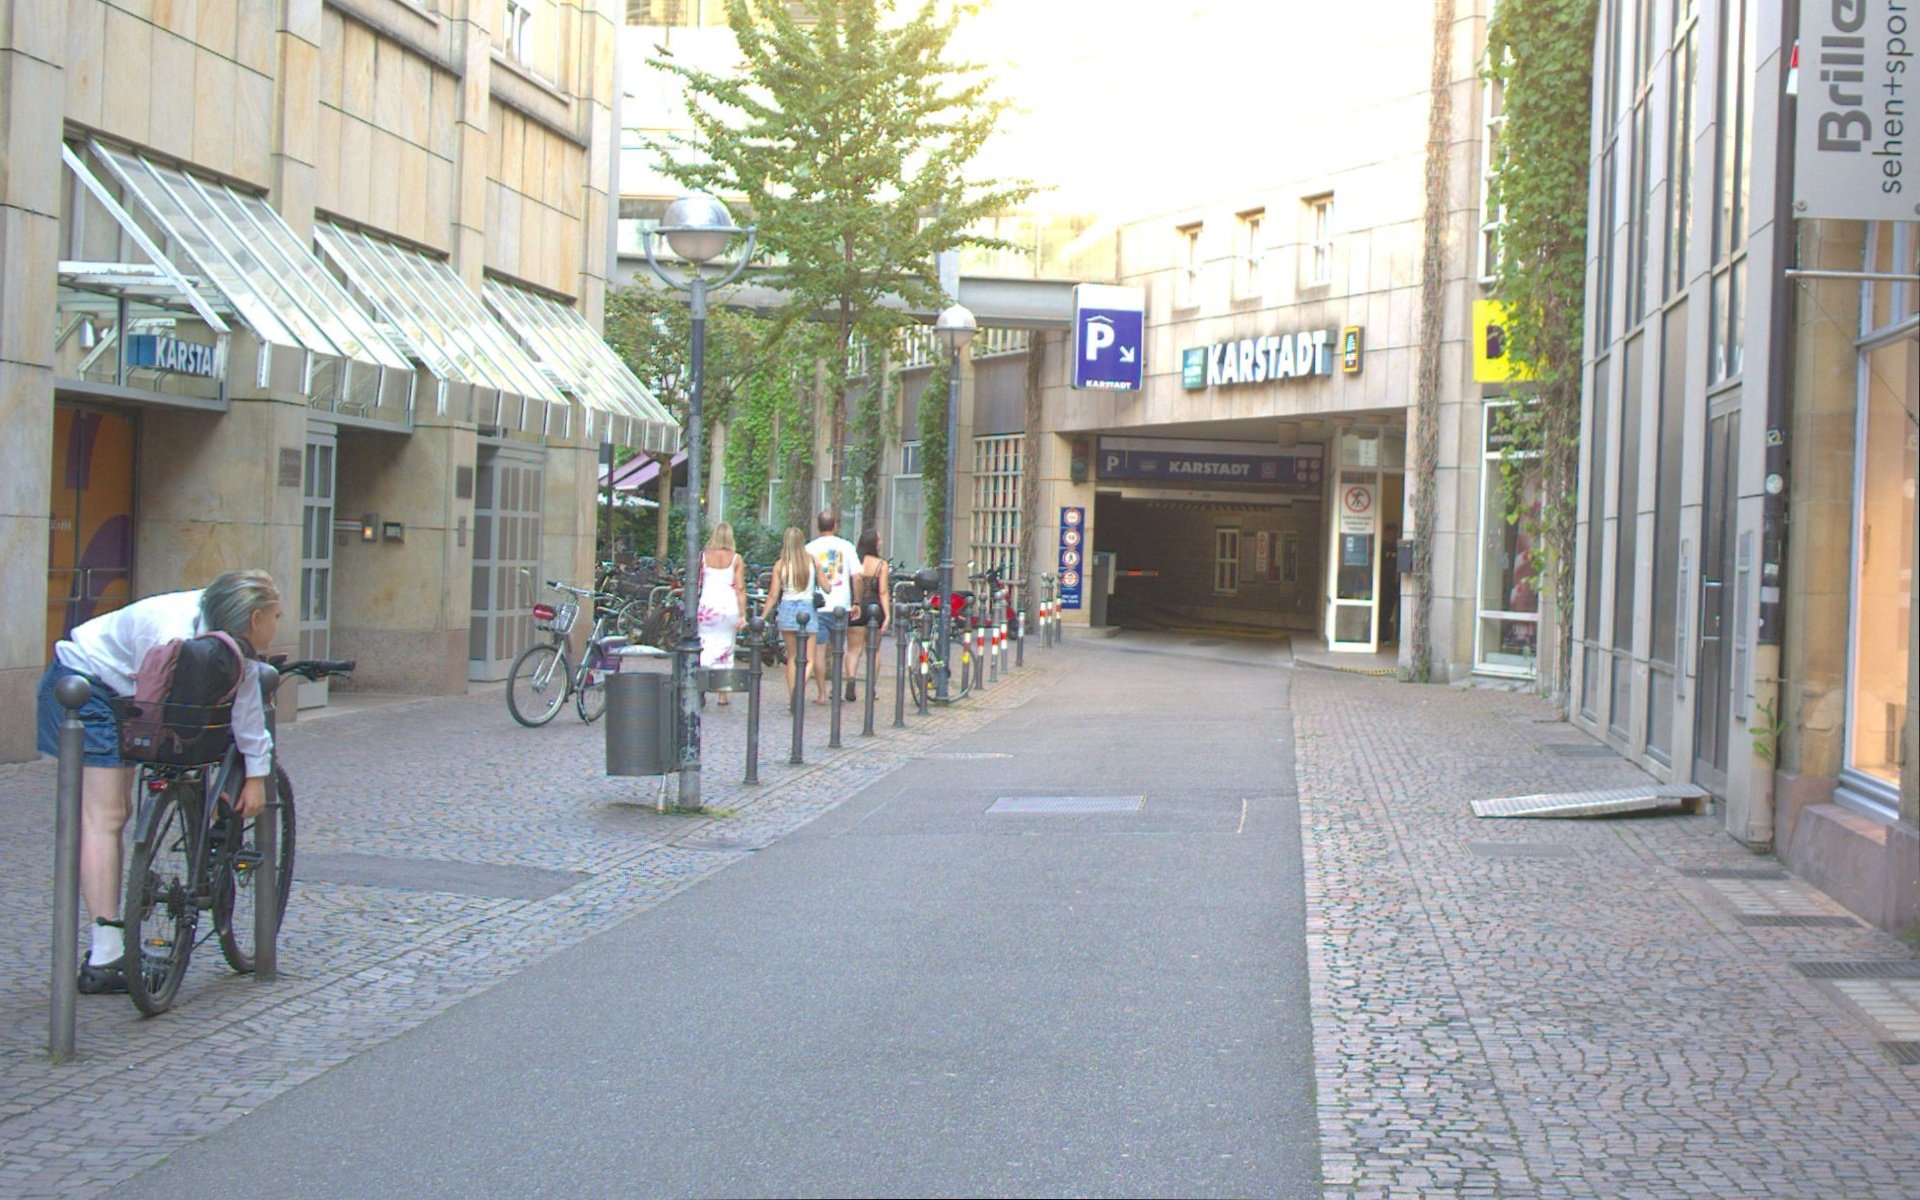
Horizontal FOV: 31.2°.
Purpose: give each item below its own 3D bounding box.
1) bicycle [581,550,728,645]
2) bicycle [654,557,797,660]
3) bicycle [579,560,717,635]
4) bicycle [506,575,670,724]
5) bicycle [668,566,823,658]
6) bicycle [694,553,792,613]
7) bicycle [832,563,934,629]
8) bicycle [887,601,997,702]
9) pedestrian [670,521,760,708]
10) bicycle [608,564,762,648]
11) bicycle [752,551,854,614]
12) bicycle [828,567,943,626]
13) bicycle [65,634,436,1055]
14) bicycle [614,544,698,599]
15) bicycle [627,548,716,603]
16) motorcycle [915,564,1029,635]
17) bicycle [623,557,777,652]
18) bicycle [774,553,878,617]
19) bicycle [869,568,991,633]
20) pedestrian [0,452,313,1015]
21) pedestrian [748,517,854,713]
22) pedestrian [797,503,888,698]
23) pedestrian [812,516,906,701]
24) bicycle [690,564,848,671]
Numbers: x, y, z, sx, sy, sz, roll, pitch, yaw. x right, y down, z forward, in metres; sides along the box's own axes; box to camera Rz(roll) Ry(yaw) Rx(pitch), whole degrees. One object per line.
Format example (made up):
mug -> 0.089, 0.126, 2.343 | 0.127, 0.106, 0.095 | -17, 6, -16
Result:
bicycle -> -4.016, -0.034, 45.181 | 1.833, 1.221, 0.534 | 1, 1, -17
bicycle -> -2.866, 0.100, 42.014 | 1.653, 1.226, 0.534 | 1, 1, -17
bicycle -> -4.453, -0.032, 49.022 | 1.876, 1.039, 0.534 | 1, 1, -17
bicycle -> -2.949, 0.373, 27.427 | 0.522, 1.134, 1.762 | 2, 1, 21
bicycle -> -2.677, 0.147, 42.893 | 1.836, 1.118, 0.534 | 1, 1, -17
bicycle -> -4.137, -0.321, 65.643 | 1.773, 1.110, 0.543 | 1, 1, -15
bicycle -> -1.260, -0.063, 56.232 | 1.539, 1.045, 0.575 | 1, 1, -15
bicycle -> -0.166, 0.496, 34.021 | 0.493, 0.935, 1.657 | 3, 1, 20
pedestrian -> -2.235, 0.124, 31.409 | 0.675, 1.659, 0.860 | 2, 1, 3
bicycle -> -3.557, 0.074, 44.464 | 1.893, 1.048, 0.534 | 1, 1, -17
bicycle -> -2.884, -0.322, 63.262 | 1.773, 1.110, 0.543 | 1, 1, -15
bicycle -> -1.194, -0.056, 55.272 | 1.773, 0.901, 0.464 | 1, 1, -15
bicycle -> -2.224, 0.723, 11.012 | 0.533, 1.150, 1.914 | 4, 1, 6
bicycle -> -6.827, -0.643, 77.127 | 1.773, 1.186, 0.586 | 1, 1, -15
bicycle -> -6.010, -0.509, 71.614 | 1.773, 1.110, 0.543 | 1, 1, -12
motorcycle -> 0.185, -0.007, 52.588 | 1.662, 1.047, 0.464 | 1, 1, -15
bicycle -> -3.323, 0.056, 43.909 | 1.872, 1.173, 0.534 | 1, 1, -17
bicycle -> -2.428, -0.277, 62.185 | 1.773, 1.110, 0.543 | 1, 1, -15
bicycle -> -0.471, 0.005, 54.351 | 1.847, 0.978, 0.464 | 1, 1, -15
pedestrian -> -2.580, 0.411, 11.029 | 0.768, 1.712, 0.591 | 4, 1, 5
pedestrian -> -1.435, 0.128, 31.149 | 0.806, 1.723, 0.948 | 2, 1, 4
pedestrian -> -1.119, -0.001, 32.863 | 0.742, 1.816, 0.878 | 1, 1, 4
pedestrian -> -0.993, 0.072, 34.099 | 0.785, 1.789, 0.972 | 1, 1, 5
bicycle -> -2.261, 0.207, 40.676 | 1.766, 1.226, 0.534 | 1, 1, -17
